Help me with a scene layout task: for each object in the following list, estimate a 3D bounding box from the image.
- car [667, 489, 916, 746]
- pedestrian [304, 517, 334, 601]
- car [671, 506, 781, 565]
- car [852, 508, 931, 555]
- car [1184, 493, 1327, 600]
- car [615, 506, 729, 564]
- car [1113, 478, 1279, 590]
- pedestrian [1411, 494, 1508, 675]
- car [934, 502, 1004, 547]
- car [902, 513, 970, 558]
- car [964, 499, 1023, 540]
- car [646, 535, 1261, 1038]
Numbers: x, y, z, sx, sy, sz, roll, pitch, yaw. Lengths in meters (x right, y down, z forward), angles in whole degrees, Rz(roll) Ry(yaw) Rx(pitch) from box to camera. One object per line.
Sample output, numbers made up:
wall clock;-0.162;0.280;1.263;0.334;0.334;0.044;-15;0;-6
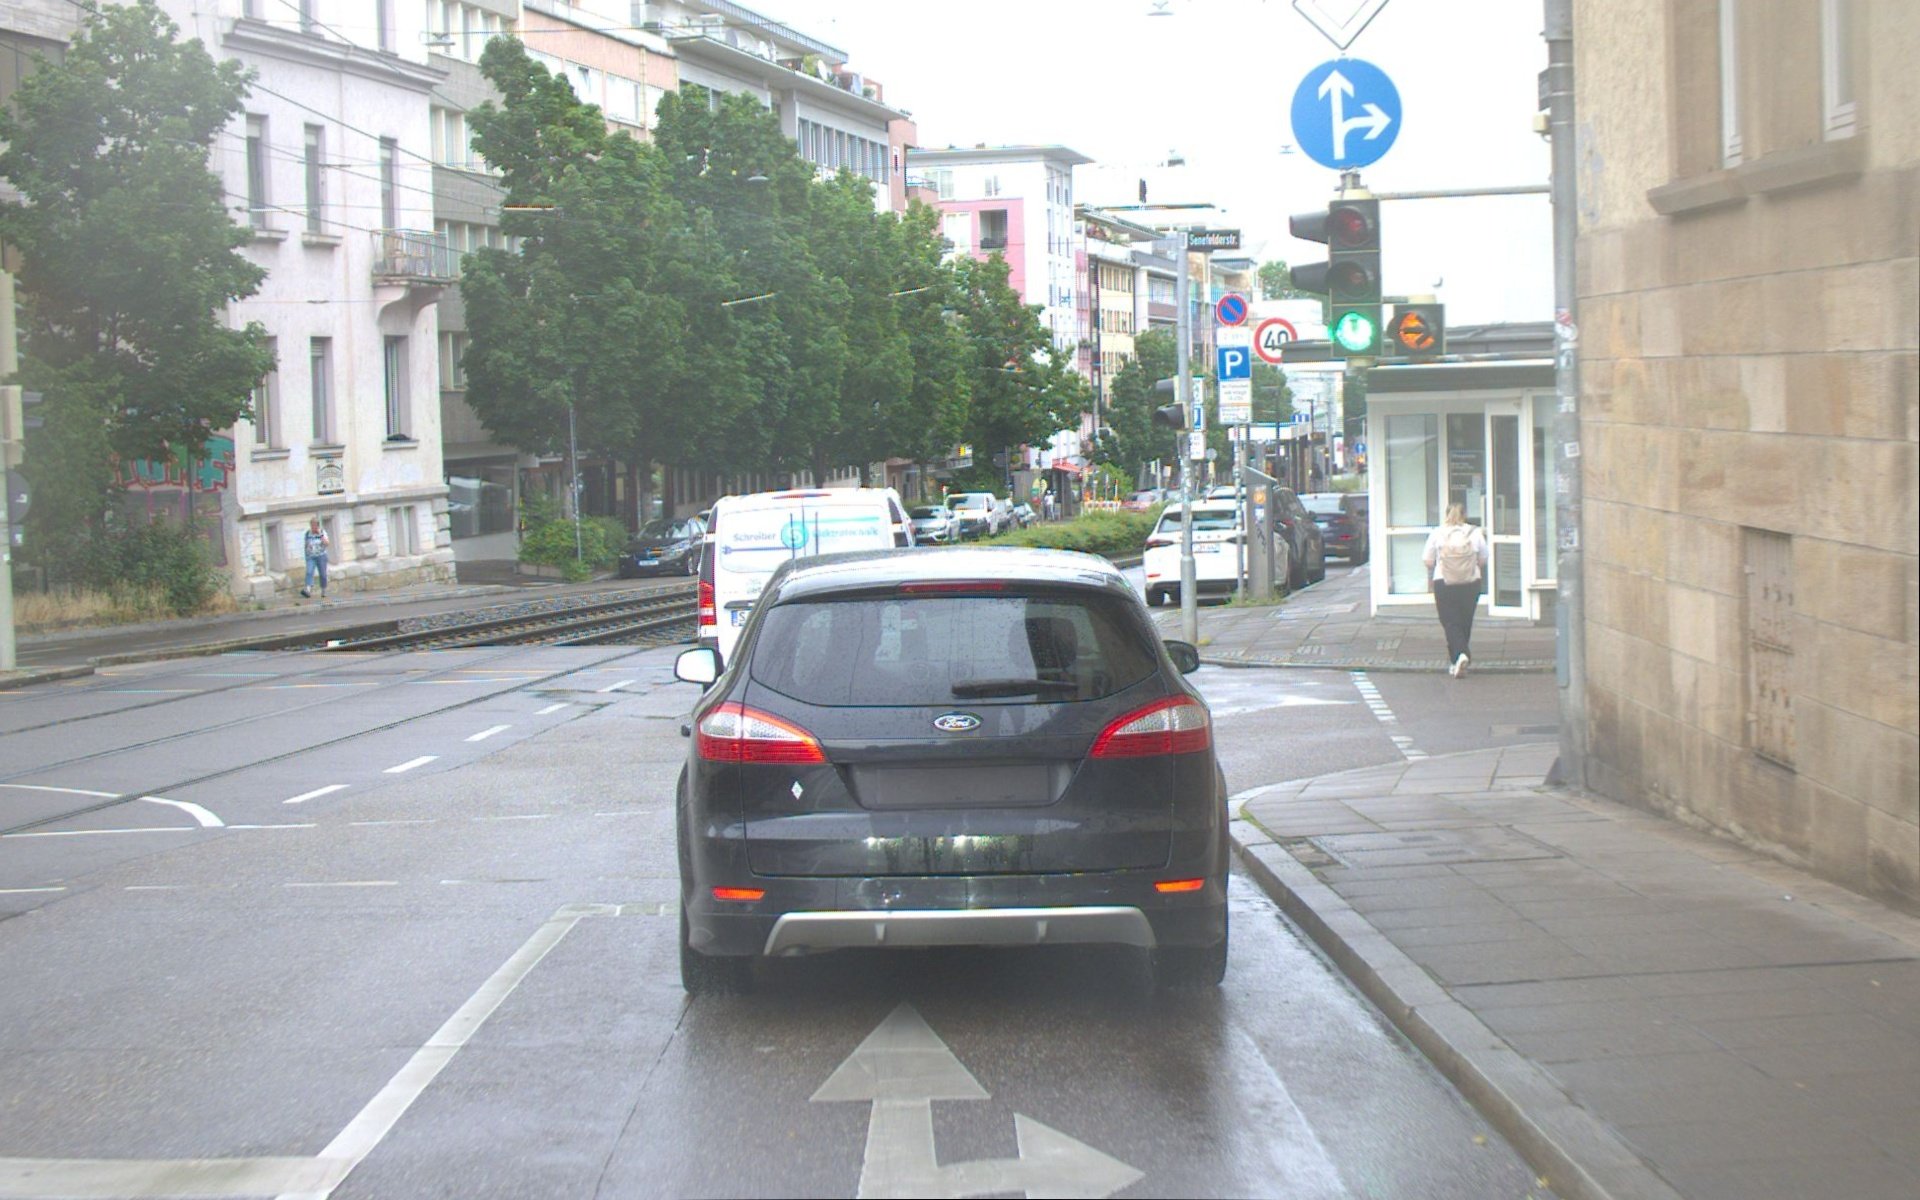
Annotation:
car;-1.404;0.123;30.071;1.988;2.053;4.645;1;0;-1
pedestrian;-12.601;-0.805;67.626;0.467;1.646;0.582;1;0;-2
car;-6.283;-1.728;92.860;1.856;1.543;4.719;0;0;10
car;-2.280;-2.304;115.564;1.856;1.521;4.044;0;0;10
car;4.821;-0.865;55.571;1.846;1.627;4.584;-1;1;10
car;-7.216;-1.628;86.641;1.694;1.373;4.719;0;0;10
car;3.406;-0.927;48.975;1.802;1.450;4.584;-2;0;10
pedestrian;4.446;-0.137;30.613;0.688;1.566;0.763;-2;0;-1
car;0.366;-2.886;131.910;1.856;1.631;4.933;0;0;10
car;-0.838;-2.290;122.696;1.668;1.553;4.044;0;0;10
car;1.365;-3.226;138.608;1.695;1.568;4.044;0;0;10
car;-0.032;0.549;12.383;1.842;1.502;4.000;1;0;0
